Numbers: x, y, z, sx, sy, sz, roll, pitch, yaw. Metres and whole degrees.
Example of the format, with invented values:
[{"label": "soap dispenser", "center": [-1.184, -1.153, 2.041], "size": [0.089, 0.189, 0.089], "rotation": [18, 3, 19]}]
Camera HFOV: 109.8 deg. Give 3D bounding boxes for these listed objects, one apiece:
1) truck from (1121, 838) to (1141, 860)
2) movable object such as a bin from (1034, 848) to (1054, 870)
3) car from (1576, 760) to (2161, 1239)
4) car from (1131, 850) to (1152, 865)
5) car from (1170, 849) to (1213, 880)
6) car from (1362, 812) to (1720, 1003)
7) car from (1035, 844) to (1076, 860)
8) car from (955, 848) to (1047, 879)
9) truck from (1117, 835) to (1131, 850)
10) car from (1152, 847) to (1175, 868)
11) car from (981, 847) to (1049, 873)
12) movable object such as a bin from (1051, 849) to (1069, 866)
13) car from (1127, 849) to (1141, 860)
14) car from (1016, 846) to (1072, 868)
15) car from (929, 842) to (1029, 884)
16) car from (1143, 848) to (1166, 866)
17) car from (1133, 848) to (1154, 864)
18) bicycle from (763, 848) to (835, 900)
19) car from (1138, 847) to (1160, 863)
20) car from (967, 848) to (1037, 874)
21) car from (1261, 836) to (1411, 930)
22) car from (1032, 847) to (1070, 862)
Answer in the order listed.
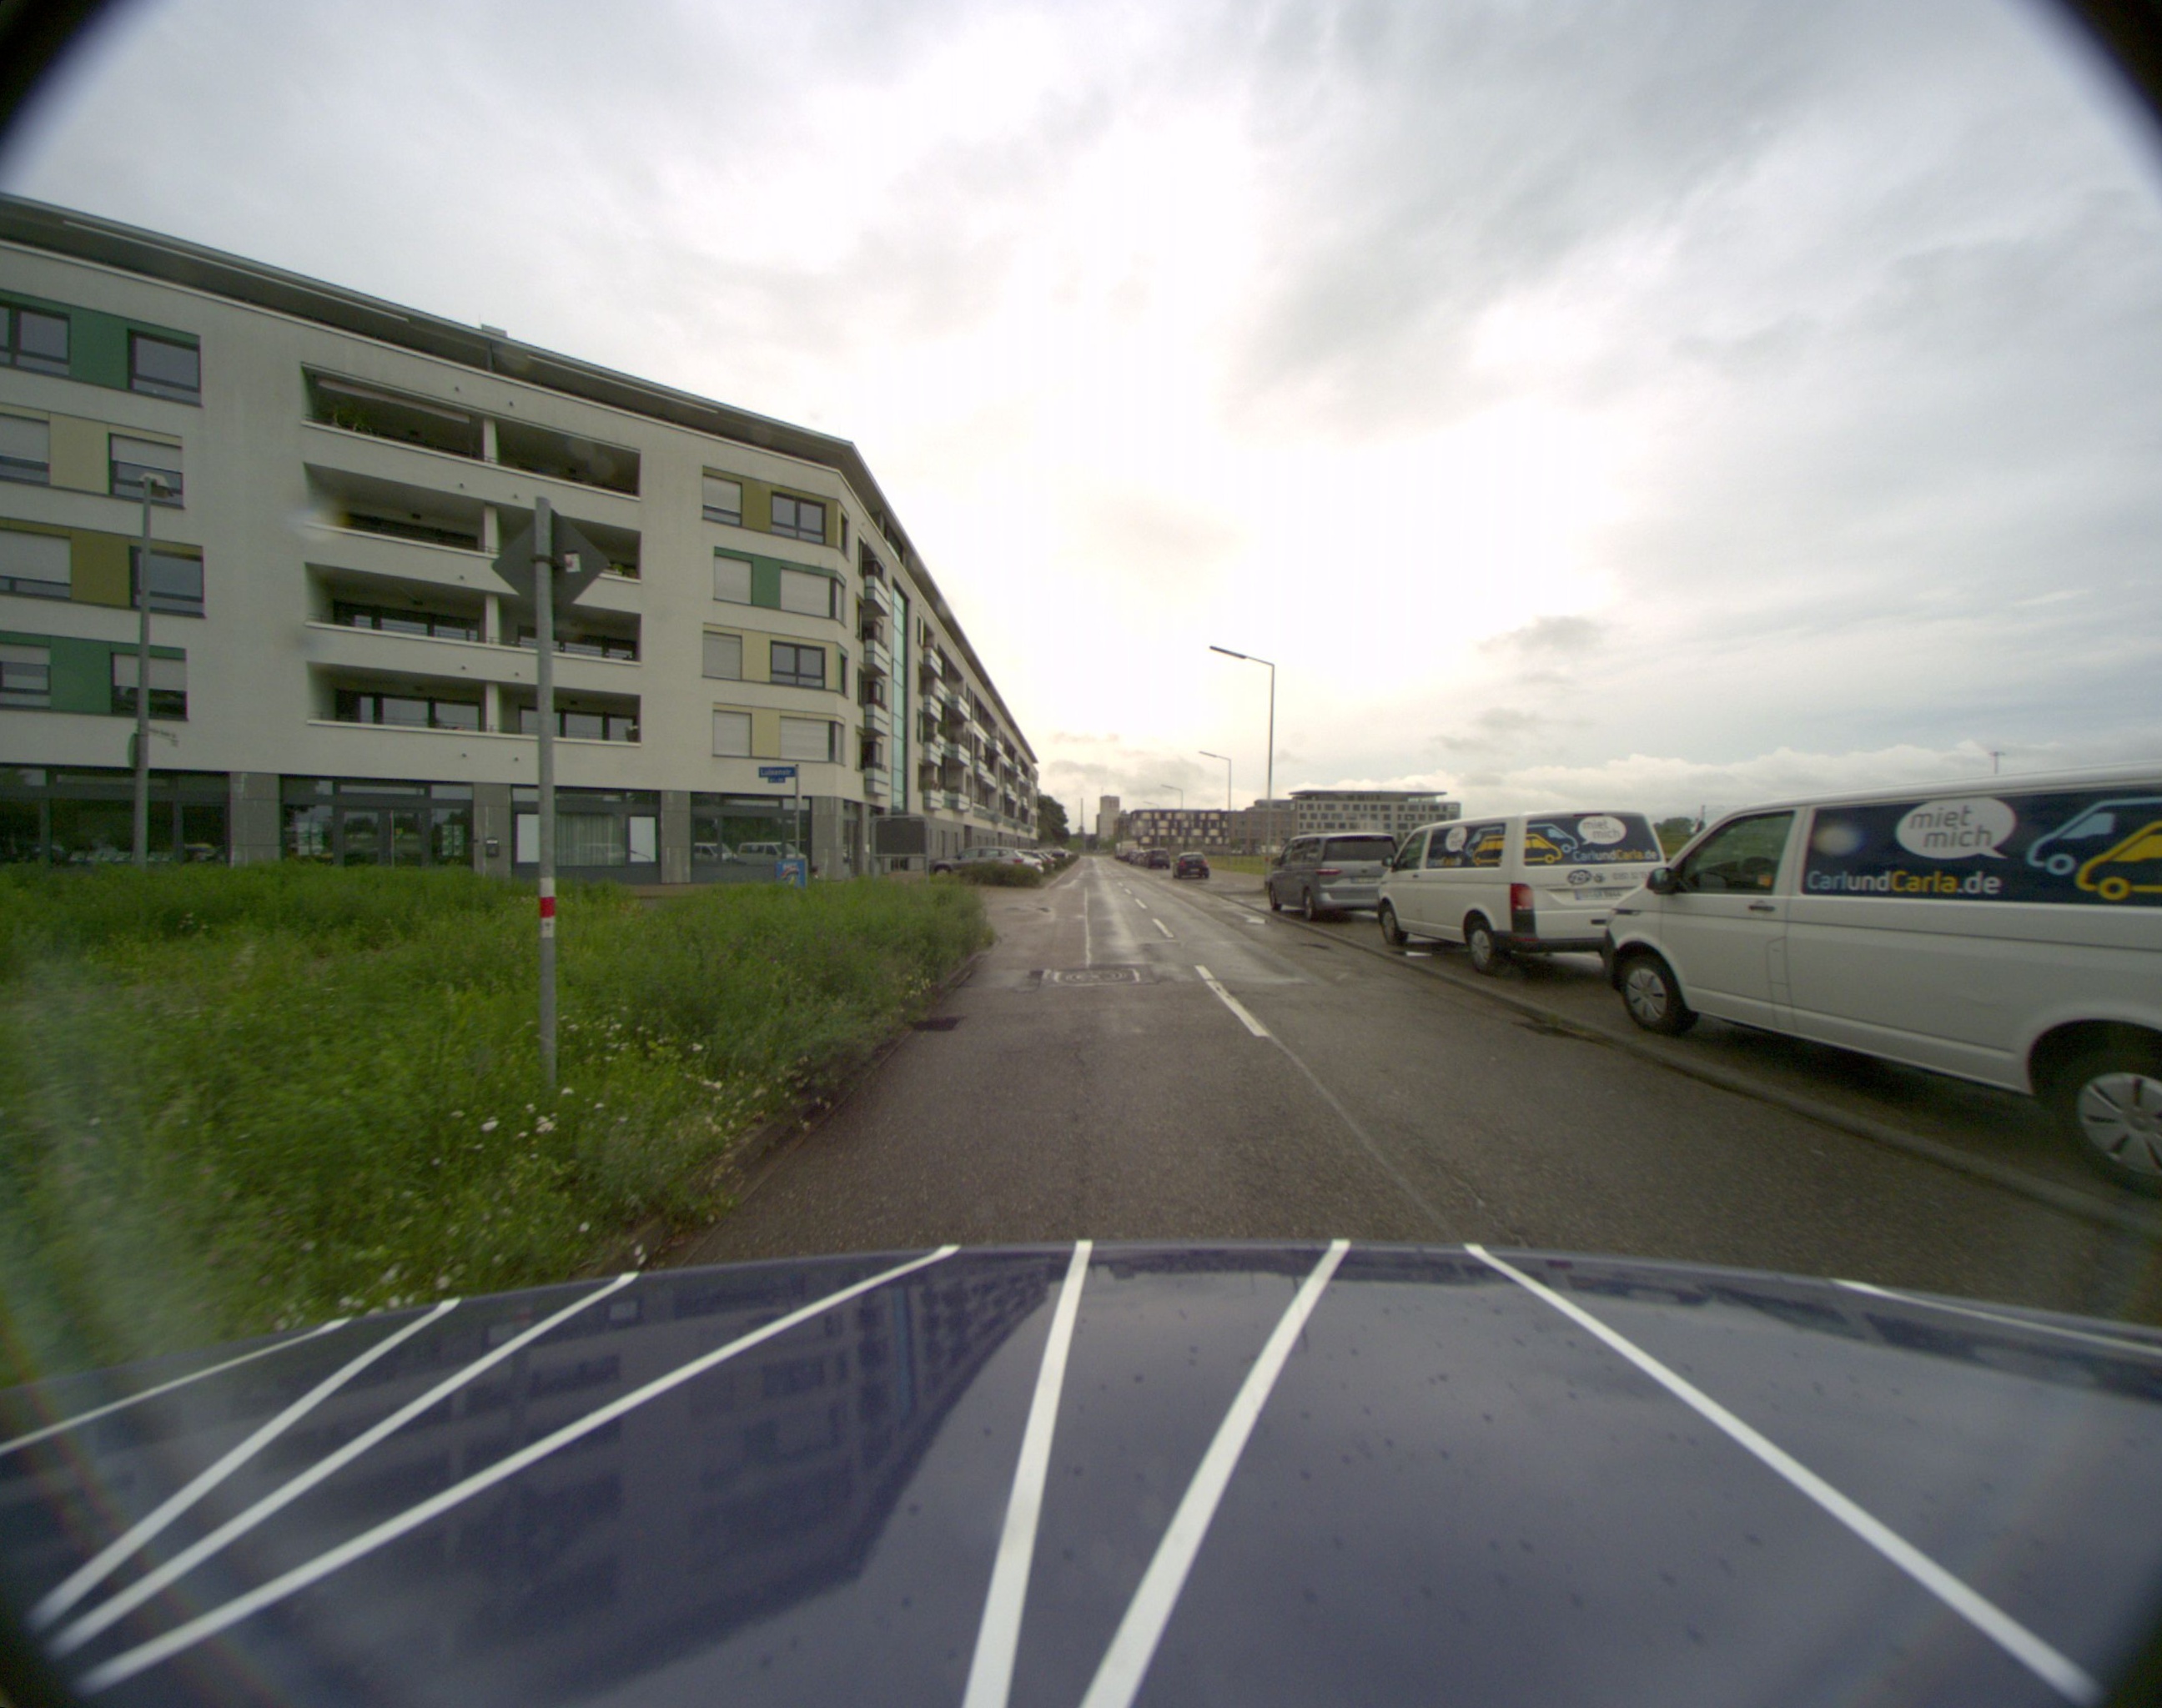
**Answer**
[{"label": "truck", "center": [7.087, -0.757, 108.616], "size": [2.442, 3.051, 6.699], "rotation": [-1, 1, 0]}, {"label": "movable object such as a bin", "center": [-2.630, 0.321, 53.902], "size": [1.303, 1.517, 1.581], "rotation": [-1, 1, 1]}, {"label": "car", "center": [5.620, 0.598, 4.542], "size": [1.964, 2.046, 5.274], "rotation": [-1, 0, 1]}, {"label": "car", "center": [6.966, 0.408, 87.772], "size": [1.857, 1.598, 4.988], "rotation": [-3, 0, 0]}, {"label": "car", "center": [6.133, 0.531, 42.576], "size": [1.851, 1.552, 4.152], "rotation": [-2, 1, 1]}, {"label": "car", "center": [5.780, 0.549, 10.594], "size": [1.899, 2.002, 5.257], "rotation": [0, 0, 1]}, {"label": "car", "center": [-3.286, -0.233, 98.518], "size": [5.062, 1.918, 1.982], "rotation": [2, 1, 1]}, {"label": "car", "center": [-3.979, 0.468, 38.349], "size": [4.420, 1.397, 1.910], "rotation": [2, 1, 0]}, {"label": "truck", "center": [7.252, -1.928, 128.705], "size": [2.180, 2.591, 6.131], "rotation": [0, 1, 1]}, {"label": "car", "center": [6.931, 0.303, 64.248], "size": [1.756, 1.683, 4.882], "rotation": [0, 0, 4]}, {"label": "car", "center": [-4.130, 0.361, 48.204], "size": [4.070, 1.488, 2.058], "rotation": [2, 1, 1]}, {"label": "movable object such as a bin", "center": [-1.912, 0.350, 69.937], "size": [1.499, 1.484, 1.155], "rotation": [3, 1, 1]}, {"label": "car", "center": [7.012, 0.079, 100.757], "size": [1.676, 1.454, 4.156], "rotation": [0, 1, 1]}, {"label": "car", "center": [-2.925, 0.235, 61.254], "size": [4.357, 1.521, 1.893], "rotation": [2, 1, 1]}, {"label": "car", "center": [-4.420, 0.372, 33.445], "size": [4.100, 1.614, 1.966], "rotation": [2, 1, 0]}, {"label": "car", "center": [6.713, 0.261, 69.754], "size": [1.757, 1.581, 4.133], "rotation": [0, 0, 1]}, {"label": "car", "center": [6.660, 0.169, 81.179], "size": [1.842, 1.520, 4.670], "rotation": [-2, 1, 1]}, {"label": "bicycle", "center": [-8.642, 0.590, 23.271], "size": [2.189, 1.514, 0.631], "rotation": [1, 1, 21]}, {"label": "car", "center": [6.760, 0.072, 75.822], "size": [1.730, 1.566, 4.209], "rotation": [0, 1, -1]}, {"label": "car", "center": [-4.751, 0.429, 46.109], "size": [3.997, 1.471, 1.879], "rotation": [1, 1, 0]}, {"label": "car", "center": [5.774, 0.563, 17.949], "size": [1.960, 1.891, 4.994], "rotation": [-1, 1, 1]}, {"label": "car", "center": [-3.360, 0.090, 85.720], "size": [4.218, 1.635, 1.686], "rotation": [1, 1, 0]}]
